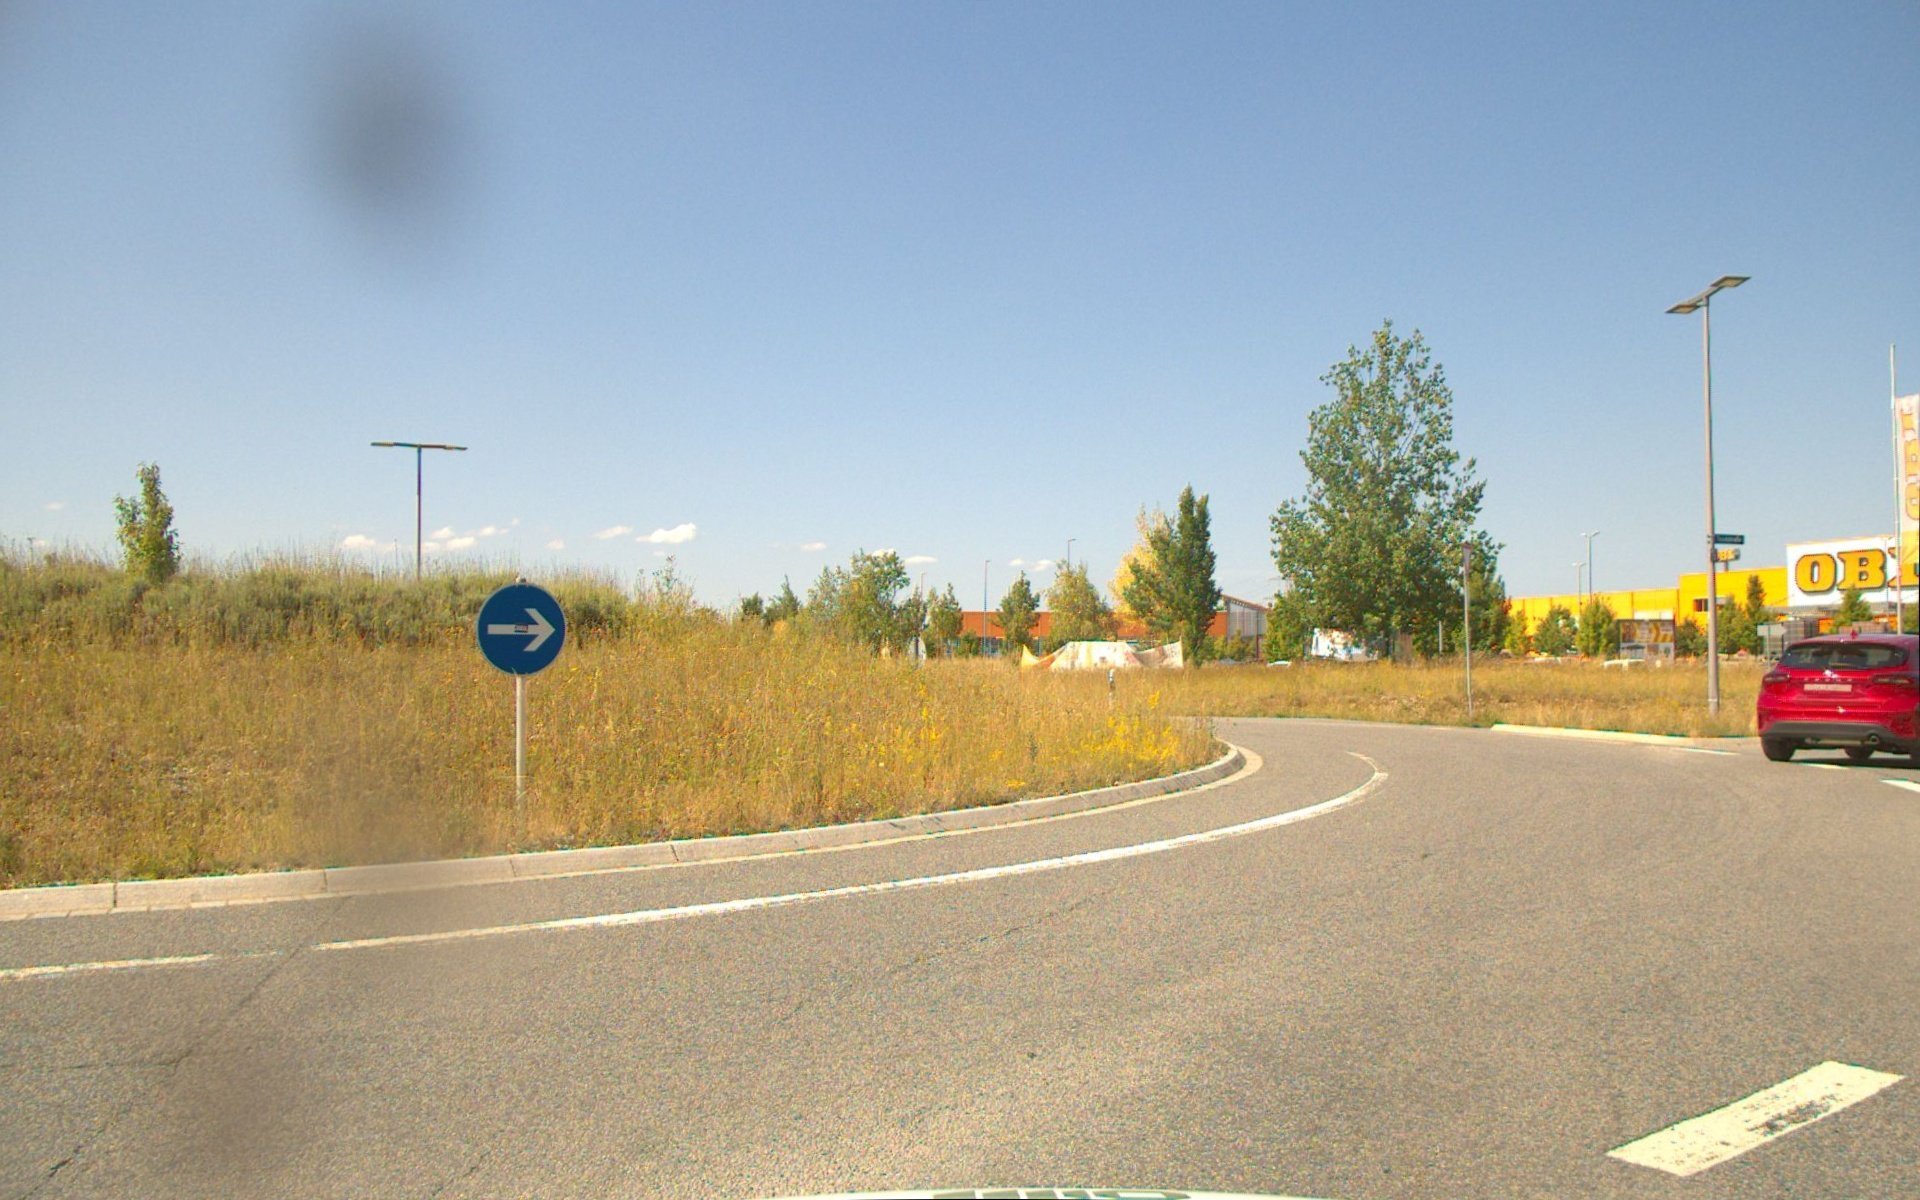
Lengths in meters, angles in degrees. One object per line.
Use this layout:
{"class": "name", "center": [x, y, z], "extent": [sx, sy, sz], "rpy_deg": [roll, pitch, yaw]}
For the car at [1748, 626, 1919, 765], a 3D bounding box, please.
{"class": "car", "center": [10.852, 1.024, 19.176], "extent": [4.085, 1.441, 1.779], "rpy_deg": [1, -1, -44]}
